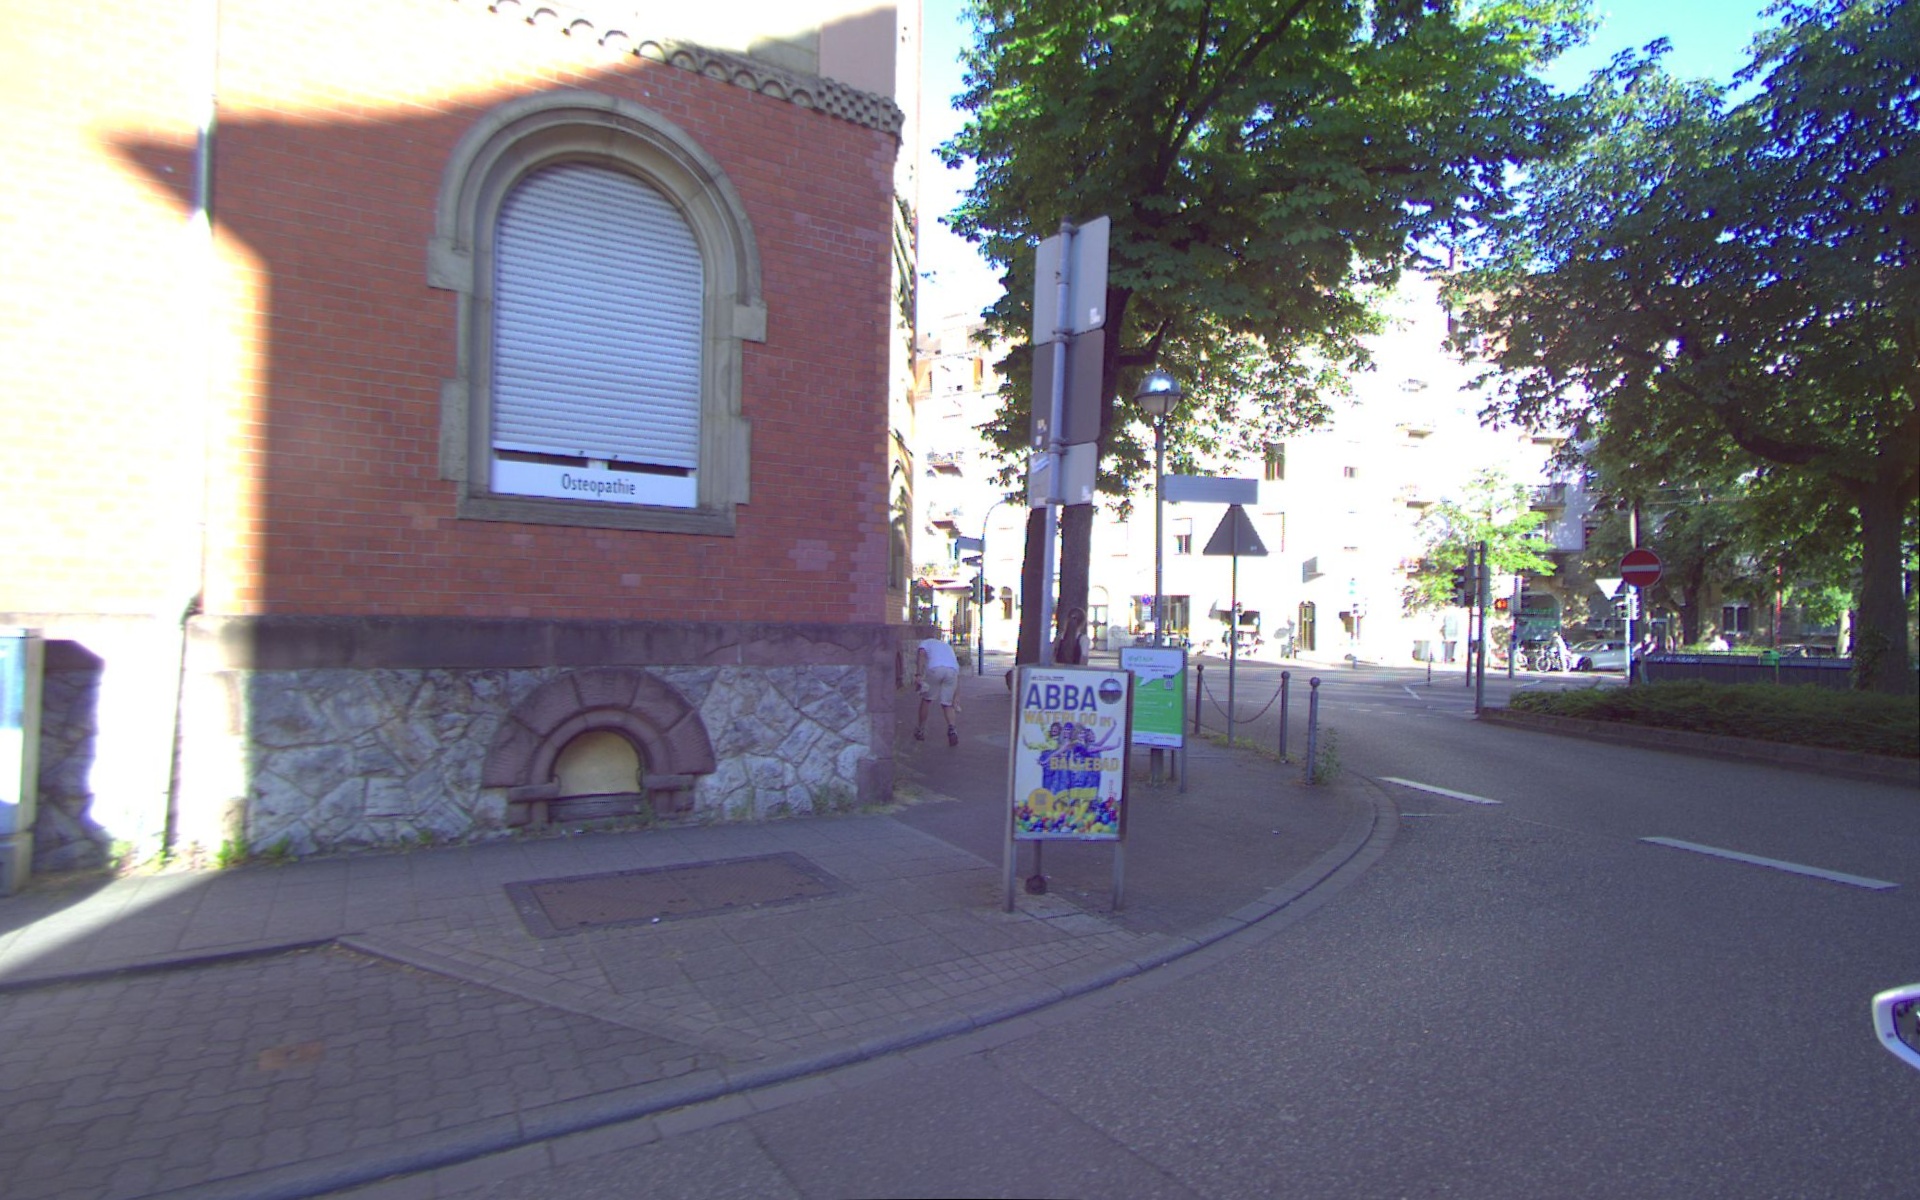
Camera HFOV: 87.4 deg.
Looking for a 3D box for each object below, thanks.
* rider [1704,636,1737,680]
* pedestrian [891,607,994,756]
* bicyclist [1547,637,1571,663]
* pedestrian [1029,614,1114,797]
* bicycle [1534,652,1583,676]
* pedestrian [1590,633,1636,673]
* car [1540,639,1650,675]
[{"bbox_3d":[30.525,2.304,40.322,0.660,1.704,0.818,2,0,-20],"label":"rider"},{"bbox_3d":[-0.205,0.928,11.810,0.854,1.665,0.858,2,-2,-44],"label":"pedestrian"},{"bbox_3d":[25.244,2.104,42.333,0.664,1.068,0.612,1,-1,-3],"label":"bicyclist"},{"bbox_3d":[1.068,0.959,9.493,0.590,1.626,0.855,0,-2,21],"label":"pedestrian"},{"bbox_3d":[25.209,2.680,42.318,1.709,0.958,0.654,1,-1,-3],"label":"bicycle"},{"bbox_3d":[32.638,2.624,50.220,1.464,1.937,1.260,1,-2,0],"label":"pedestrian"},{"bbox_3d":[27.595,2.453,43.736,3.636,1.458,1.900,1,-1,-5],"label":"car"}]
